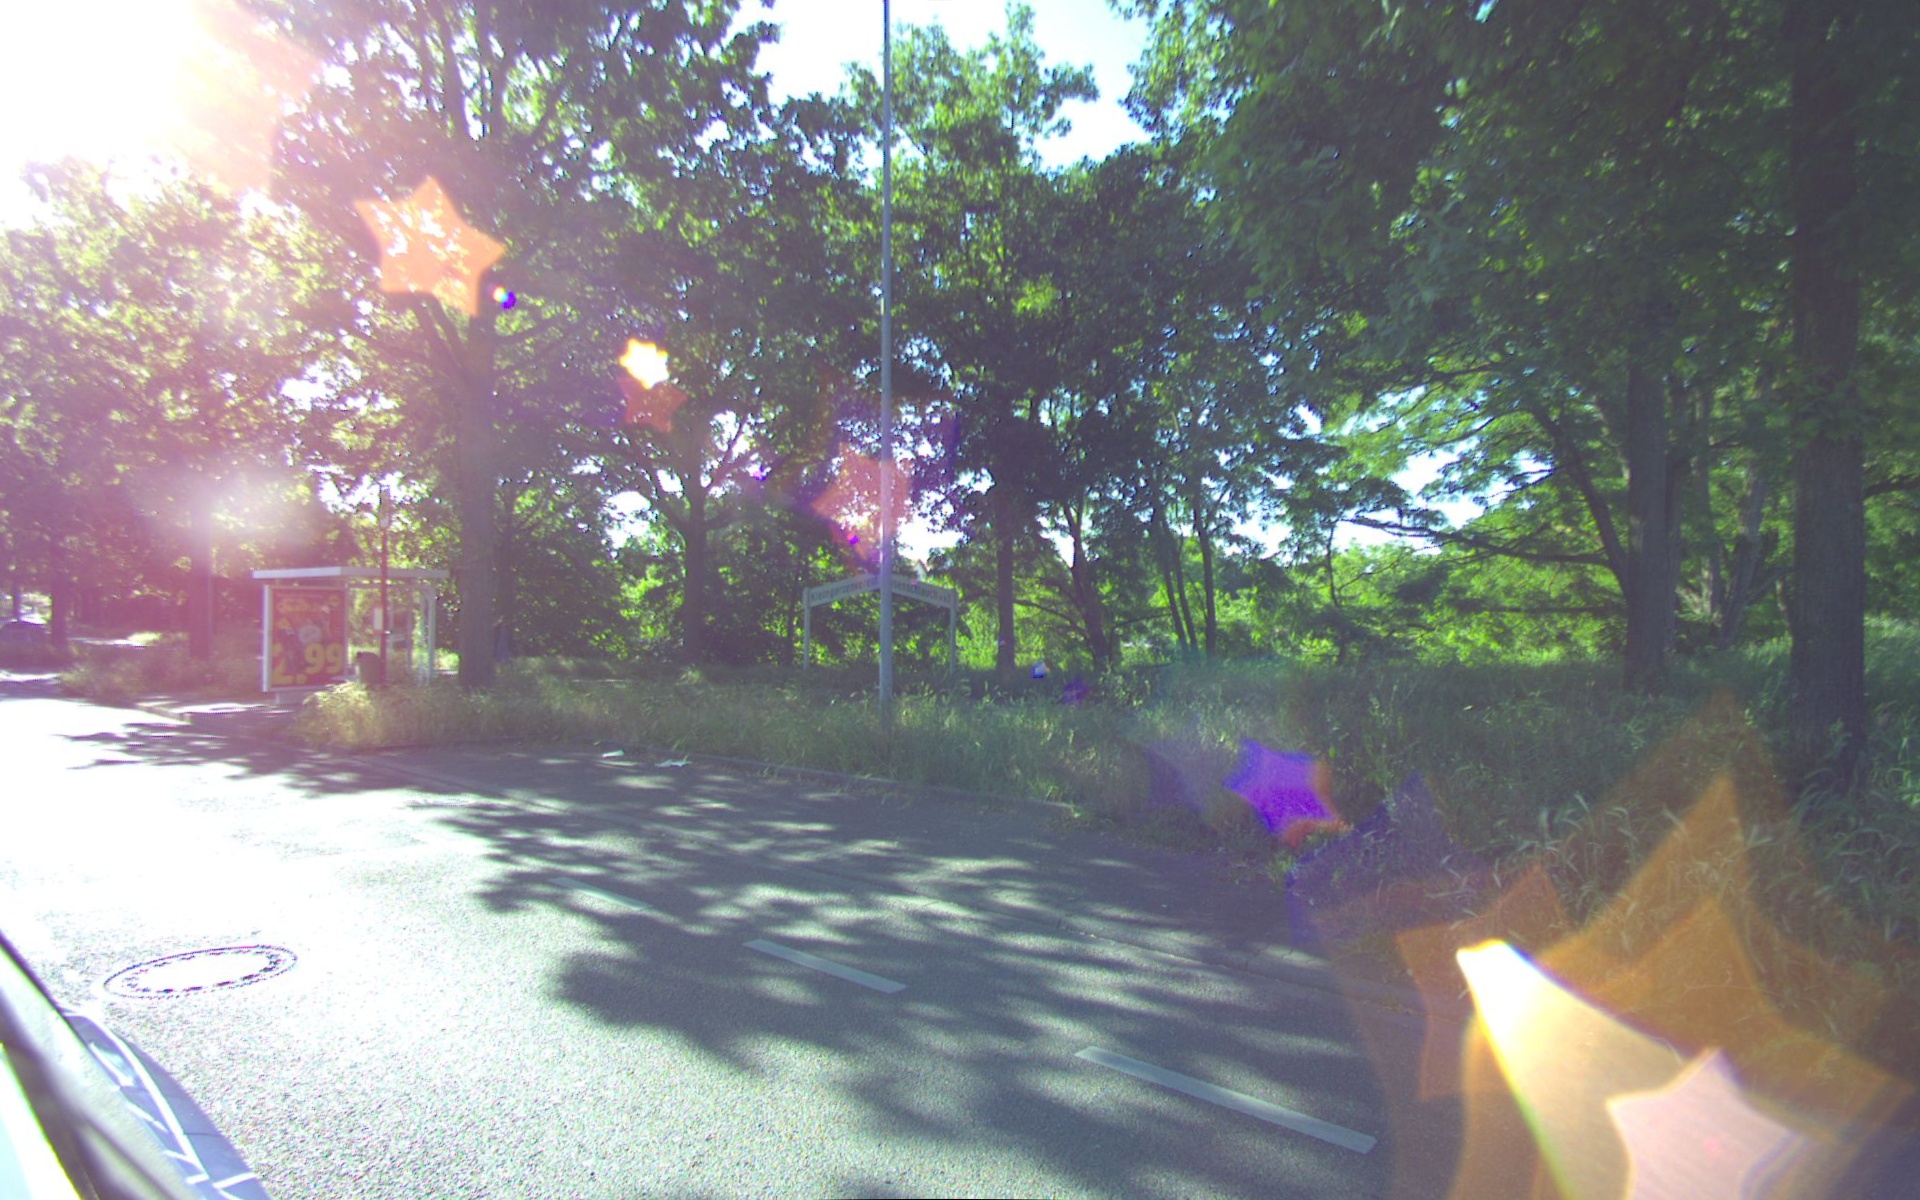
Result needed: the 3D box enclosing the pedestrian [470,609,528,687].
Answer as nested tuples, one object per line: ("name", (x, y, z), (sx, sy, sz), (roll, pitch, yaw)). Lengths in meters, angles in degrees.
("pedestrian", (-10.504, 1.074, 23.050), (0.891, 1.701, 0.903), (-2, -1, 42))
